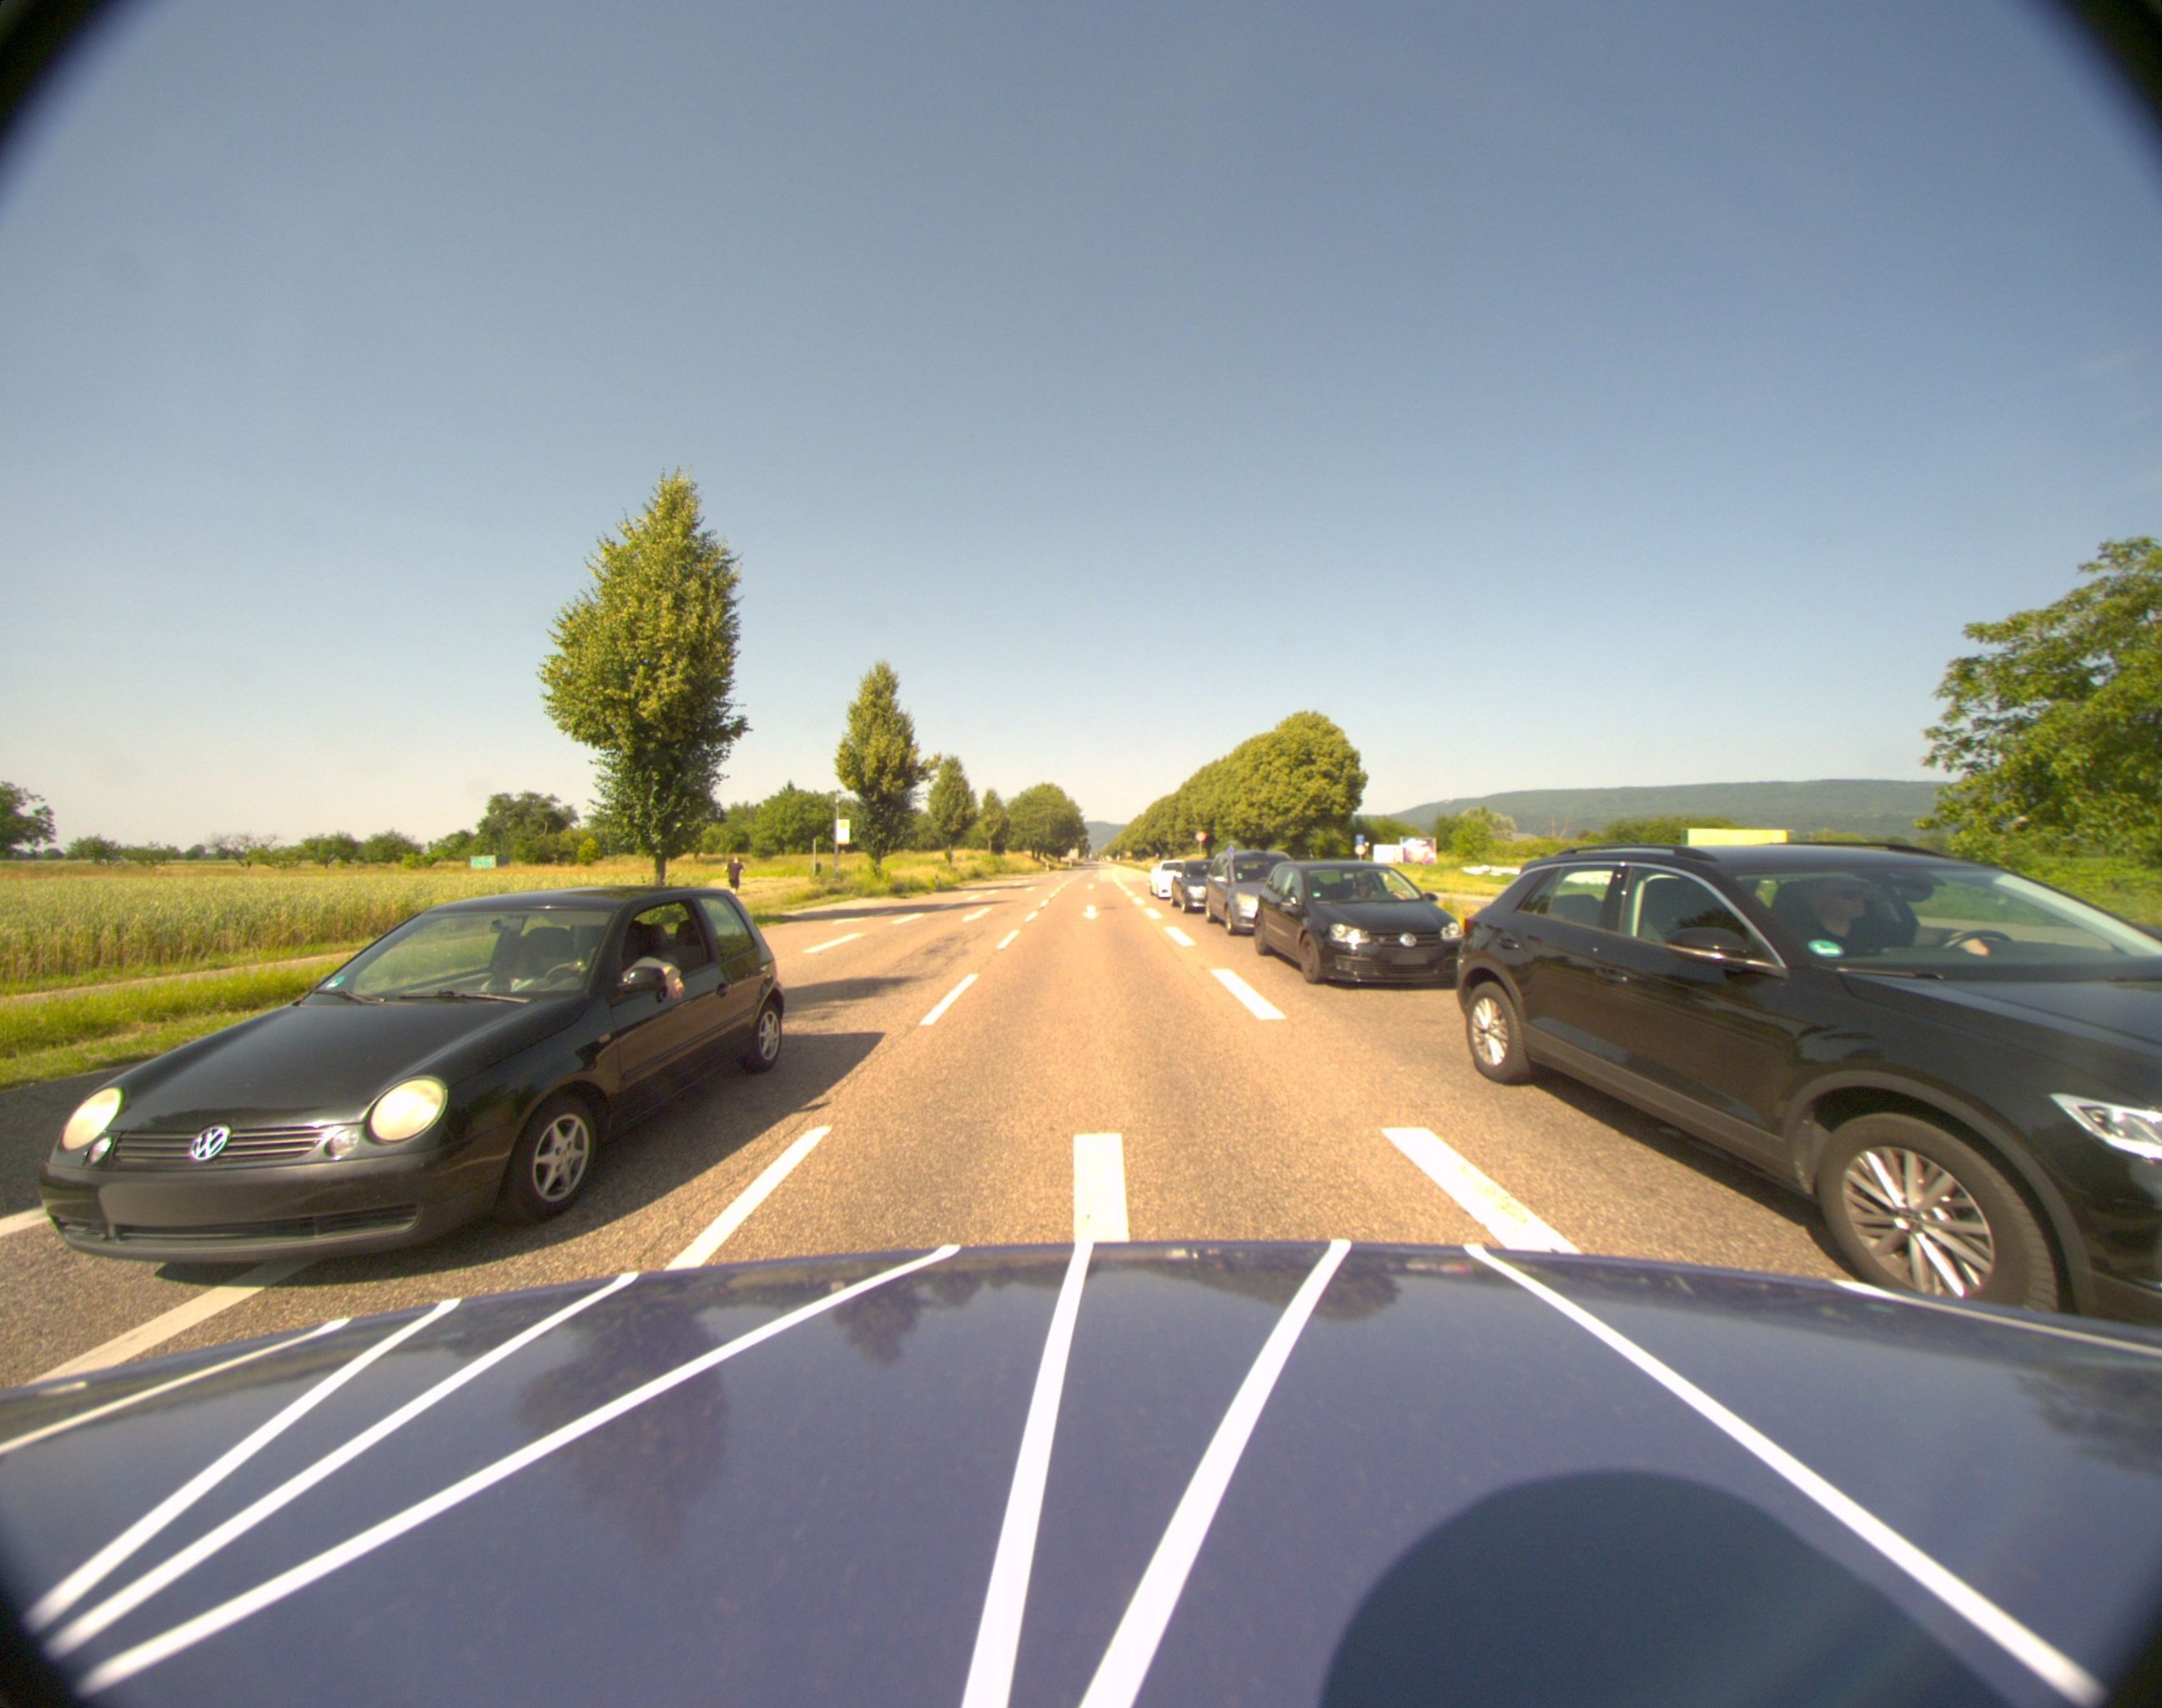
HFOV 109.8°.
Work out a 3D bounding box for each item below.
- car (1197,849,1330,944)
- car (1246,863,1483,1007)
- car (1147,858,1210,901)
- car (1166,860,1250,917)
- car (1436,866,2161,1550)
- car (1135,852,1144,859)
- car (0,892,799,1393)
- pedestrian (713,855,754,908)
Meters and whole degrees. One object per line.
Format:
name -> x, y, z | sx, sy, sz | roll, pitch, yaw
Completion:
car -> 3.606, 0.776, 15.795 | 1.745, 1.662, 4.357 | -1, 0, 1
car -> 3.447, 0.888, 10.103 | 1.670, 1.466, 4.098 | -1, 0, 1
car -> 3.591, 0.897, 28.762 | 1.808, 1.417, 4.641 | -1, 0, 1
car -> 3.528, 0.909, 21.818 | 1.719, 1.402, 4.355 | -1, 0, 1
car -> 3.439, 0.863, 3.512 | 1.733, 1.538, 4.098 | -1, 0, 1
car -> 16.056, 0.460, 209.525 | 1.998, 1.830, 4.954 | 2, 0, 1
car -> -3.107, 1.042, 4.297 | 1.629, 1.425, 3.622 | -2, 0, 0
pedestrian -> -12.420, 0.965, 27.194 | 0.904, 1.828, 1.194 | 0, 0, -1
